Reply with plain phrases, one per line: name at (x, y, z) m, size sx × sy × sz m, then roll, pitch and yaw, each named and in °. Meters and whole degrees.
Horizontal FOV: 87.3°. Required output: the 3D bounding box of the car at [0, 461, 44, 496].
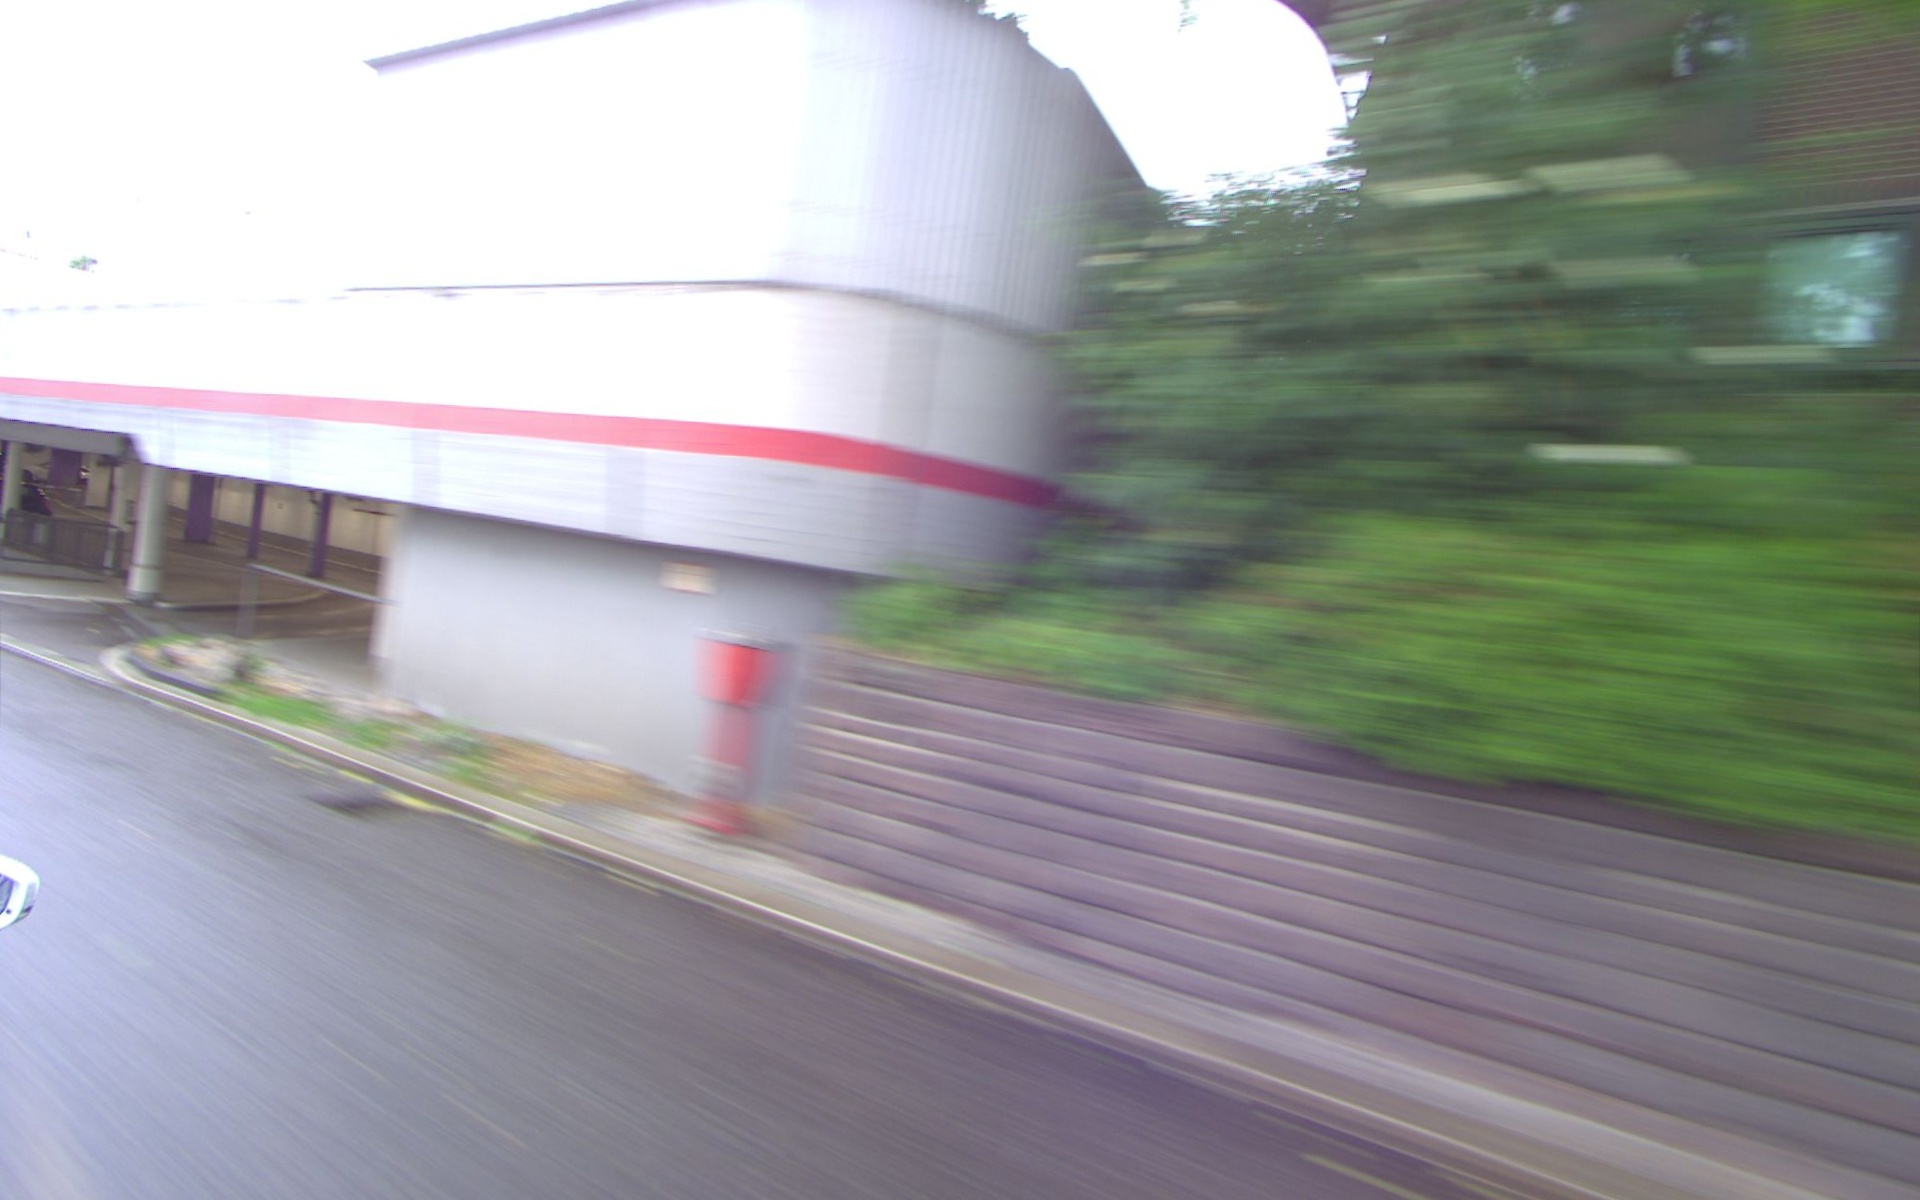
car at (-56.408, -7.287, 58.801) m, size 1.973 × 1.658 × 3.984 m, roll 6°, pitch -3°, yaw 42°

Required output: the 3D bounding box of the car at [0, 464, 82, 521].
car at (-35.457, -4.155, 36.929) m, size 1.797 × 1.658 × 4.570 m, roll 6°, pitch -3°, yaw 43°
